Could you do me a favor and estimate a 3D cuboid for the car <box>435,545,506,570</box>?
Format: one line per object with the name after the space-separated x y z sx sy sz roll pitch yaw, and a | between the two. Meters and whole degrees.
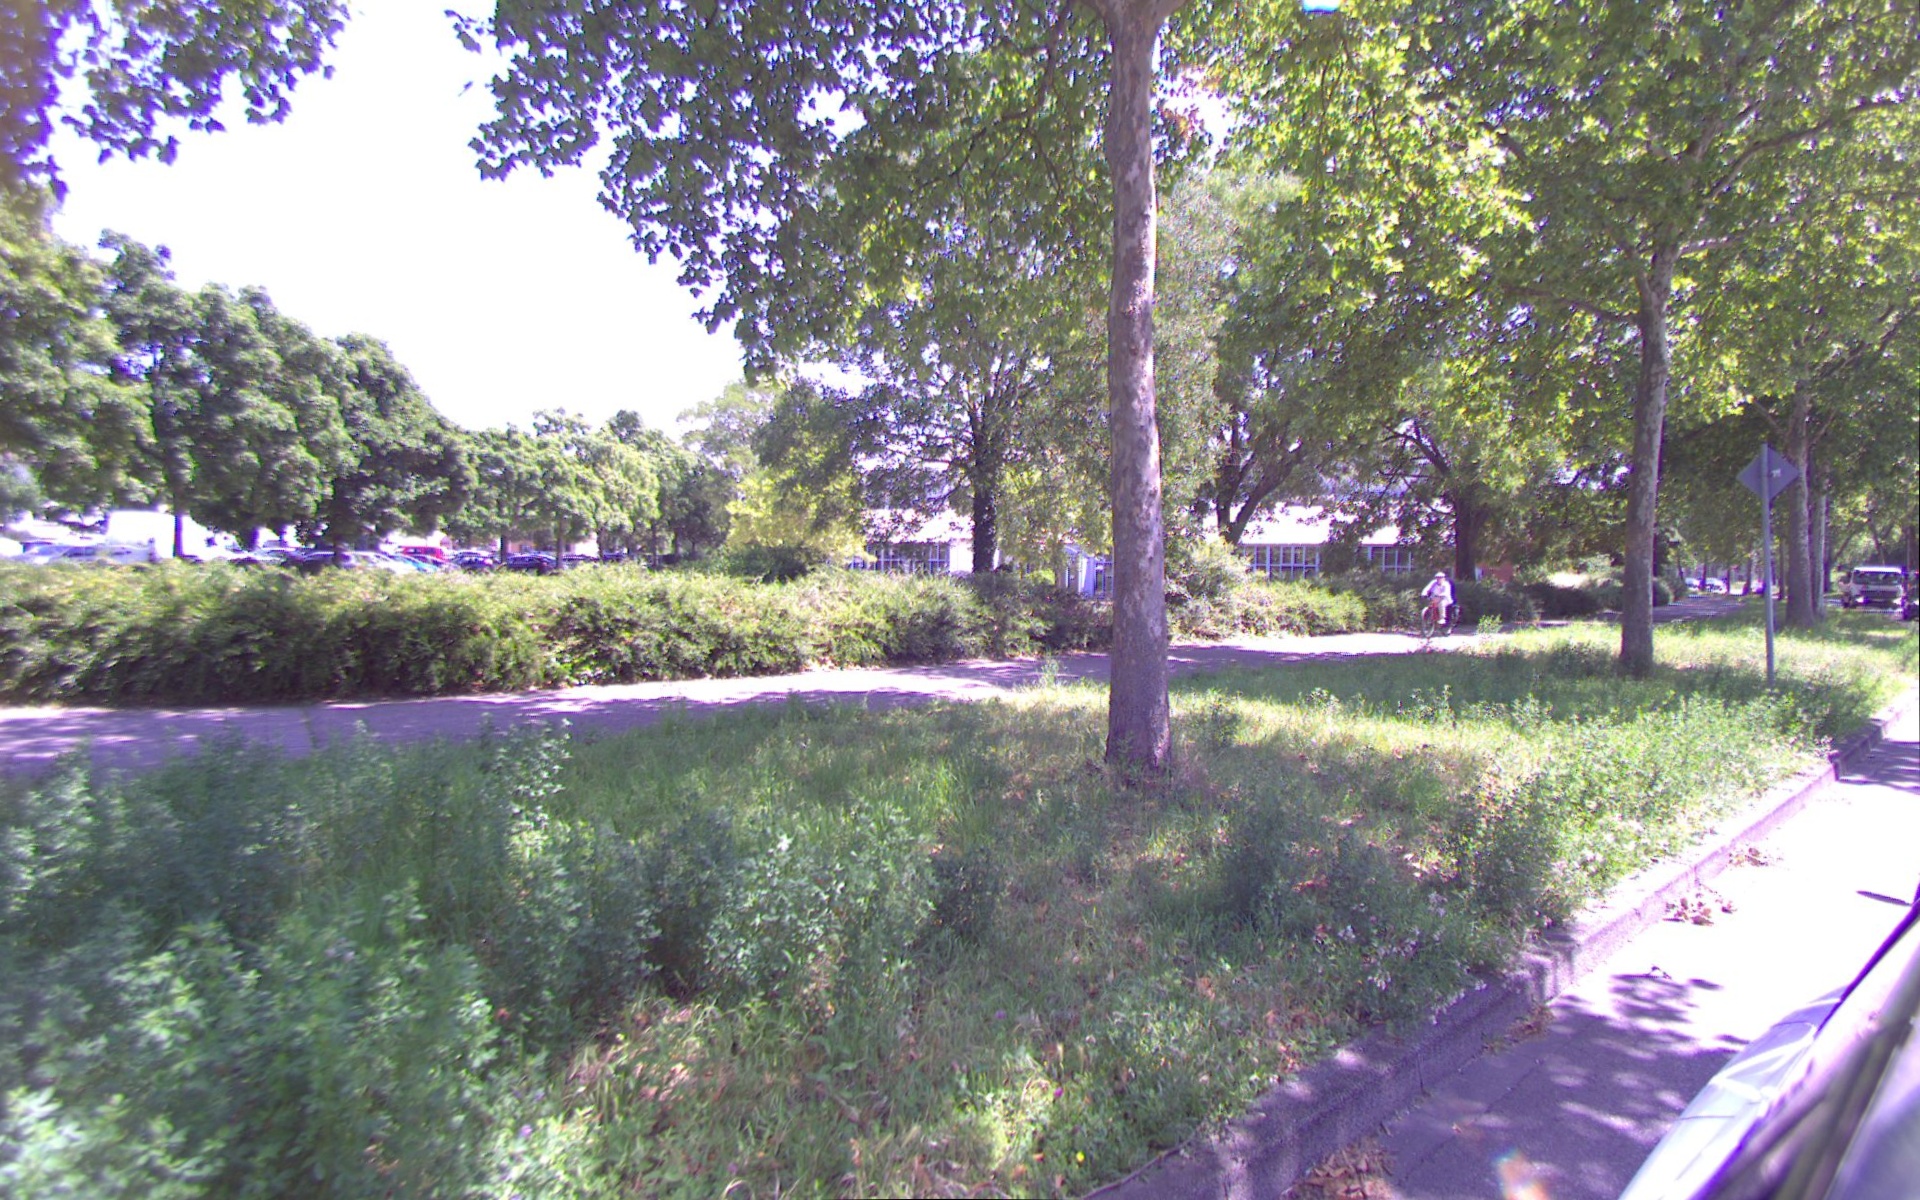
-28.135 -2.433 58.268 3.357 1.382 1.720 1 2 -9 | car

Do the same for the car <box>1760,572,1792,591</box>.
81.140 -1.842 100.676 1.986 1.860 3.953 2 2 33 | car

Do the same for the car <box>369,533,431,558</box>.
-75.716 -7.325 137.044 7.056 3.221 3.197 0 2 -24 | car

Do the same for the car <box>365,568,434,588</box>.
-25.318 -0.986 45.747 2.546 0.852 0.955 1 2 -8 | car

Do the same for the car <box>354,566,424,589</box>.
-25.076 -0.997 44.481 2.546 0.999 0.955 1 1 -8 | car

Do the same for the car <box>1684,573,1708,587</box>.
103.948 -2.803 142.985 1.979 1.860 3.967 2 2 24 | car

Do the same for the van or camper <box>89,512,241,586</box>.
-31.925 -2.017 40.866 2.161 2.785 5.132 1 2 -1 | van or camper

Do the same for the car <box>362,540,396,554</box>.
-70.280 -6.388 122.426 1.433 1.638 3.327 2 2 35 | car

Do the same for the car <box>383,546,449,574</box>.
-40.664 -2.985 75.705 3.919 2.038 1.970 1 2 -6 | car

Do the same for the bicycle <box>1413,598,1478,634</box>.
11.162 0.359 23.273 1.634 0.773 0.466 -1 2 -28 | bicycle

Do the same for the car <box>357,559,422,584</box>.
-27.163 -1.371 48.211 2.546 1.141 0.955 1 1 -8 | car

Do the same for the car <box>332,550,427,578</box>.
-26.948 -1.680 47.078 3.500 1.240 1.623 1 2 -9 | car

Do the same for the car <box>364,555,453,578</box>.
-27.009 -1.655 49.647 3.493 1.047 1.685 0 2 -9 | car

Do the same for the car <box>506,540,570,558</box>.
-64.435 -7.825 154.767 8.646 2.620 3.055 0 2 -10 | car

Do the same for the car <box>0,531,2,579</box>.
-41.519 -1.861 40.534 2.034 2.027 4.667 1 2 -2 | car

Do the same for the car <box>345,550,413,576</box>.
-27.055 -1.713 47.137 2.546 1.141 1.008 1 1 -9 | car

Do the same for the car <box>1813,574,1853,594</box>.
72.872 -1.355 84.531 1.986 1.638 3.952 2 2 34 | car

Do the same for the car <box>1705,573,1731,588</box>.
97.981 -2.524 130.822 1.980 1.860 3.964 2 2 26 | car

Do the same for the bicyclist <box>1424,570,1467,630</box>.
11.200 -0.018 23.357 0.652 1.355 0.602 0 1 -28 | bicyclist

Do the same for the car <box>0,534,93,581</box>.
-35.938 -1.628 38.862 1.918 1.739 4.073 1 2 -1 | car

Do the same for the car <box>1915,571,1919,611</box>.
44.018 -0.376 44.912 1.990 1.816 3.945 2 2 39 | car

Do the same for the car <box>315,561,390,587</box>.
-25.760 -1.107 42.952 2.546 1.049 0.955 1 1 -8 | car

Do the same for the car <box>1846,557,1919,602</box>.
58.640 -1.312 64.311 2.903 2.687 6.283 2 2 37 | car
